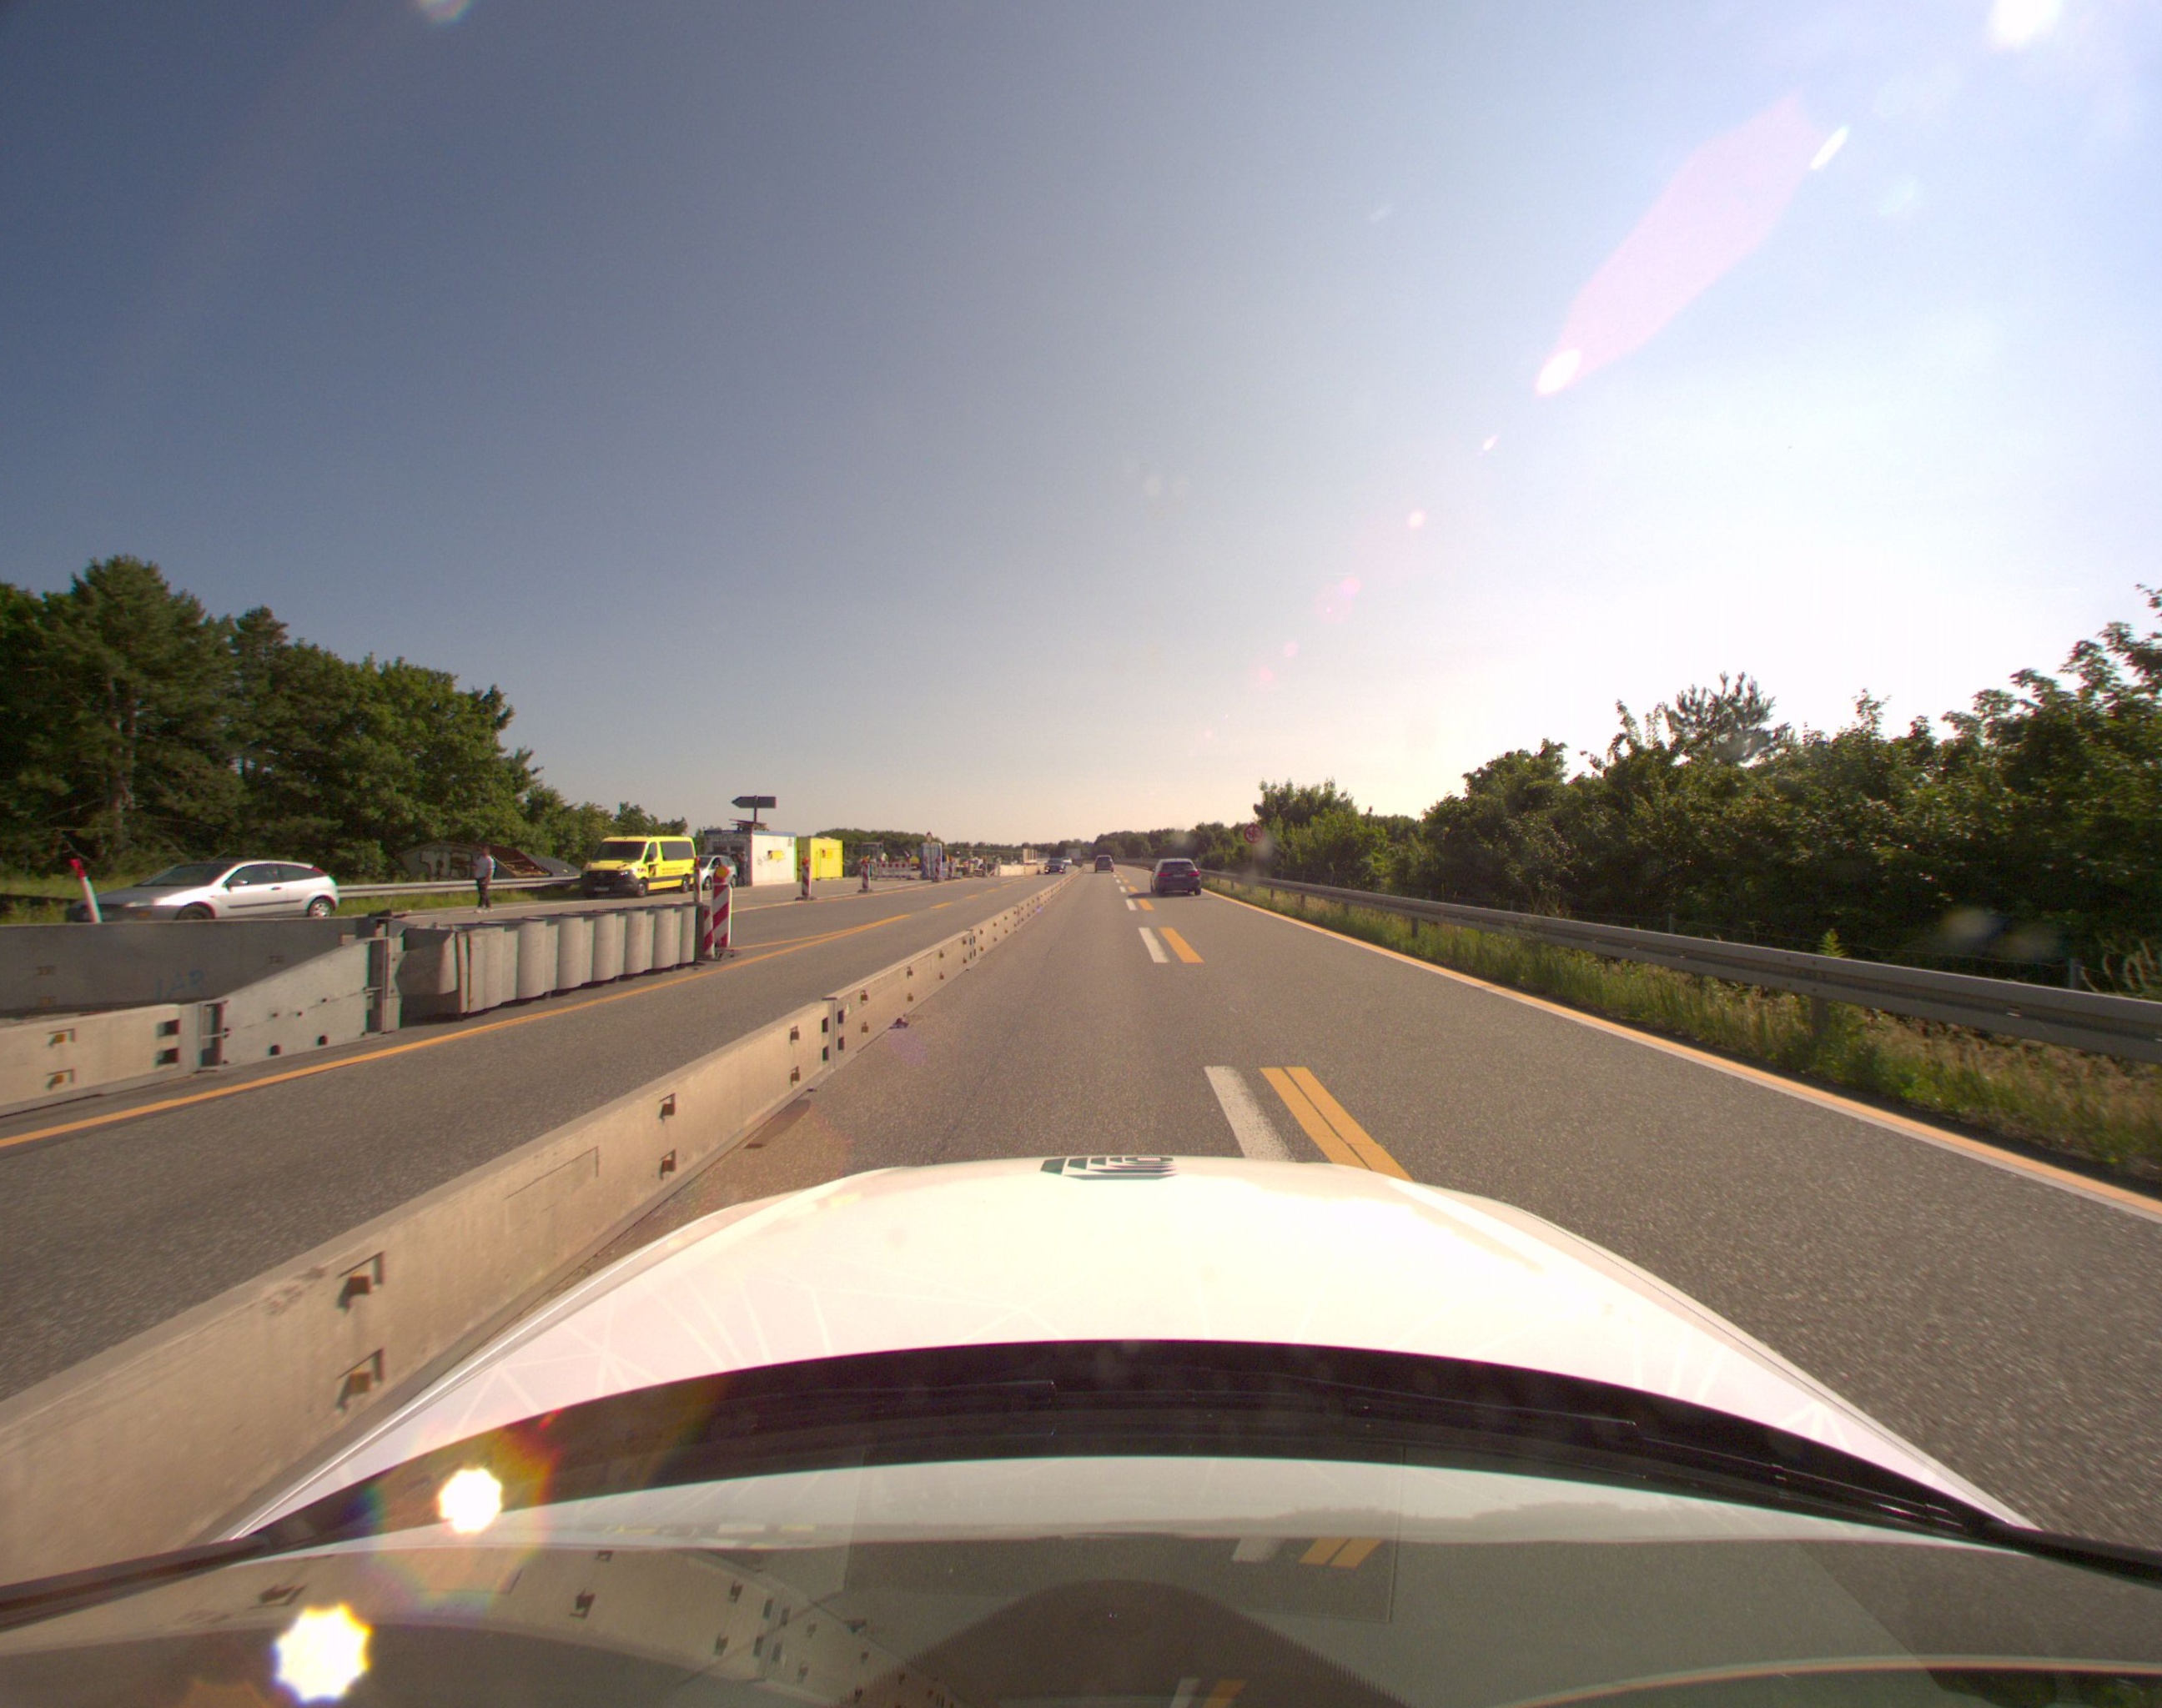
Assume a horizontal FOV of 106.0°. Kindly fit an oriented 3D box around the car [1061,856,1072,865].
[{"bbox_3d":[-2.632,1.195,147.052,1.976,1.651,4.547,0,0,-1],"label":"car"}]

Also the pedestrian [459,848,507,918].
[{"bbox_3d":[-16.157,0.769,22.016,0.741,1.820,0.794,-1,0,-10],"label":"pedestrian"}]

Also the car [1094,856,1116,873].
[{"bbox_3d":[2.285,0.960,76.670,1.986,1.567,4.003,-1,0,2],"label":"car"}]

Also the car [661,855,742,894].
[{"bbox_3d":[-17.102,0.876,36.947,1.682,1.685,4.456,0,0,-1],"label":"car"}]

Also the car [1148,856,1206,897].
[{"bbox_3d":[3.793,0.859,32.895,1.914,1.494,4.000,-1,0,1],"label":"car"}]

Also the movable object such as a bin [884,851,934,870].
[{"bbox_3d":[-20.327,0.767,96.141,5.347,2.116,2.249,-1,0,20],"label":"movable object such as a bin"}]

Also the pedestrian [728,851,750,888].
[{"bbox_3d":[-16.731,0.759,39.872,0.720,1.762,0.720,-1,0,0],"label":"pedestrian"}]

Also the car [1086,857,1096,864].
[{"bbox_3d":[2.505,1.714,204.263,1.991,1.688,3.992,0,0,-6],"label":"car"}]

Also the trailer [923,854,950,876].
[{"bbox_3d":[-11.311,0.863,64.038,1.716,1.648,3.528,1,0,-5],"label":"trailer"}]

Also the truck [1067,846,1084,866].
[{"bbox_3d":[-1.490,0.429,209.432,3.752,4.911,14.121,0,0,-3],"label":"truck"}]

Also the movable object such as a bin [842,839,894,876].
[{"bbox_3d":[-16.035,0.243,61.639,2.021,2.715,5.117,-1,0,7],"label":"movable object such as a bin"}]

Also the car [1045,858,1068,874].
[{"bbox_3d":[-2.219,1.068,75.545,1.852,1.473,4.687,0,0,2],"label":"car"}]

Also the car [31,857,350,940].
[{"bbox_3d":[-17.836,0.806,16.701,1.857,1.460,4.293,0,0,-1],"label":"car"}]

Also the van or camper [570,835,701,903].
[{"bbox_3d":[-17.010,0.518,31.544,1.989,2.378,6.192,0,0,-4],"label":"van or camper"}]
